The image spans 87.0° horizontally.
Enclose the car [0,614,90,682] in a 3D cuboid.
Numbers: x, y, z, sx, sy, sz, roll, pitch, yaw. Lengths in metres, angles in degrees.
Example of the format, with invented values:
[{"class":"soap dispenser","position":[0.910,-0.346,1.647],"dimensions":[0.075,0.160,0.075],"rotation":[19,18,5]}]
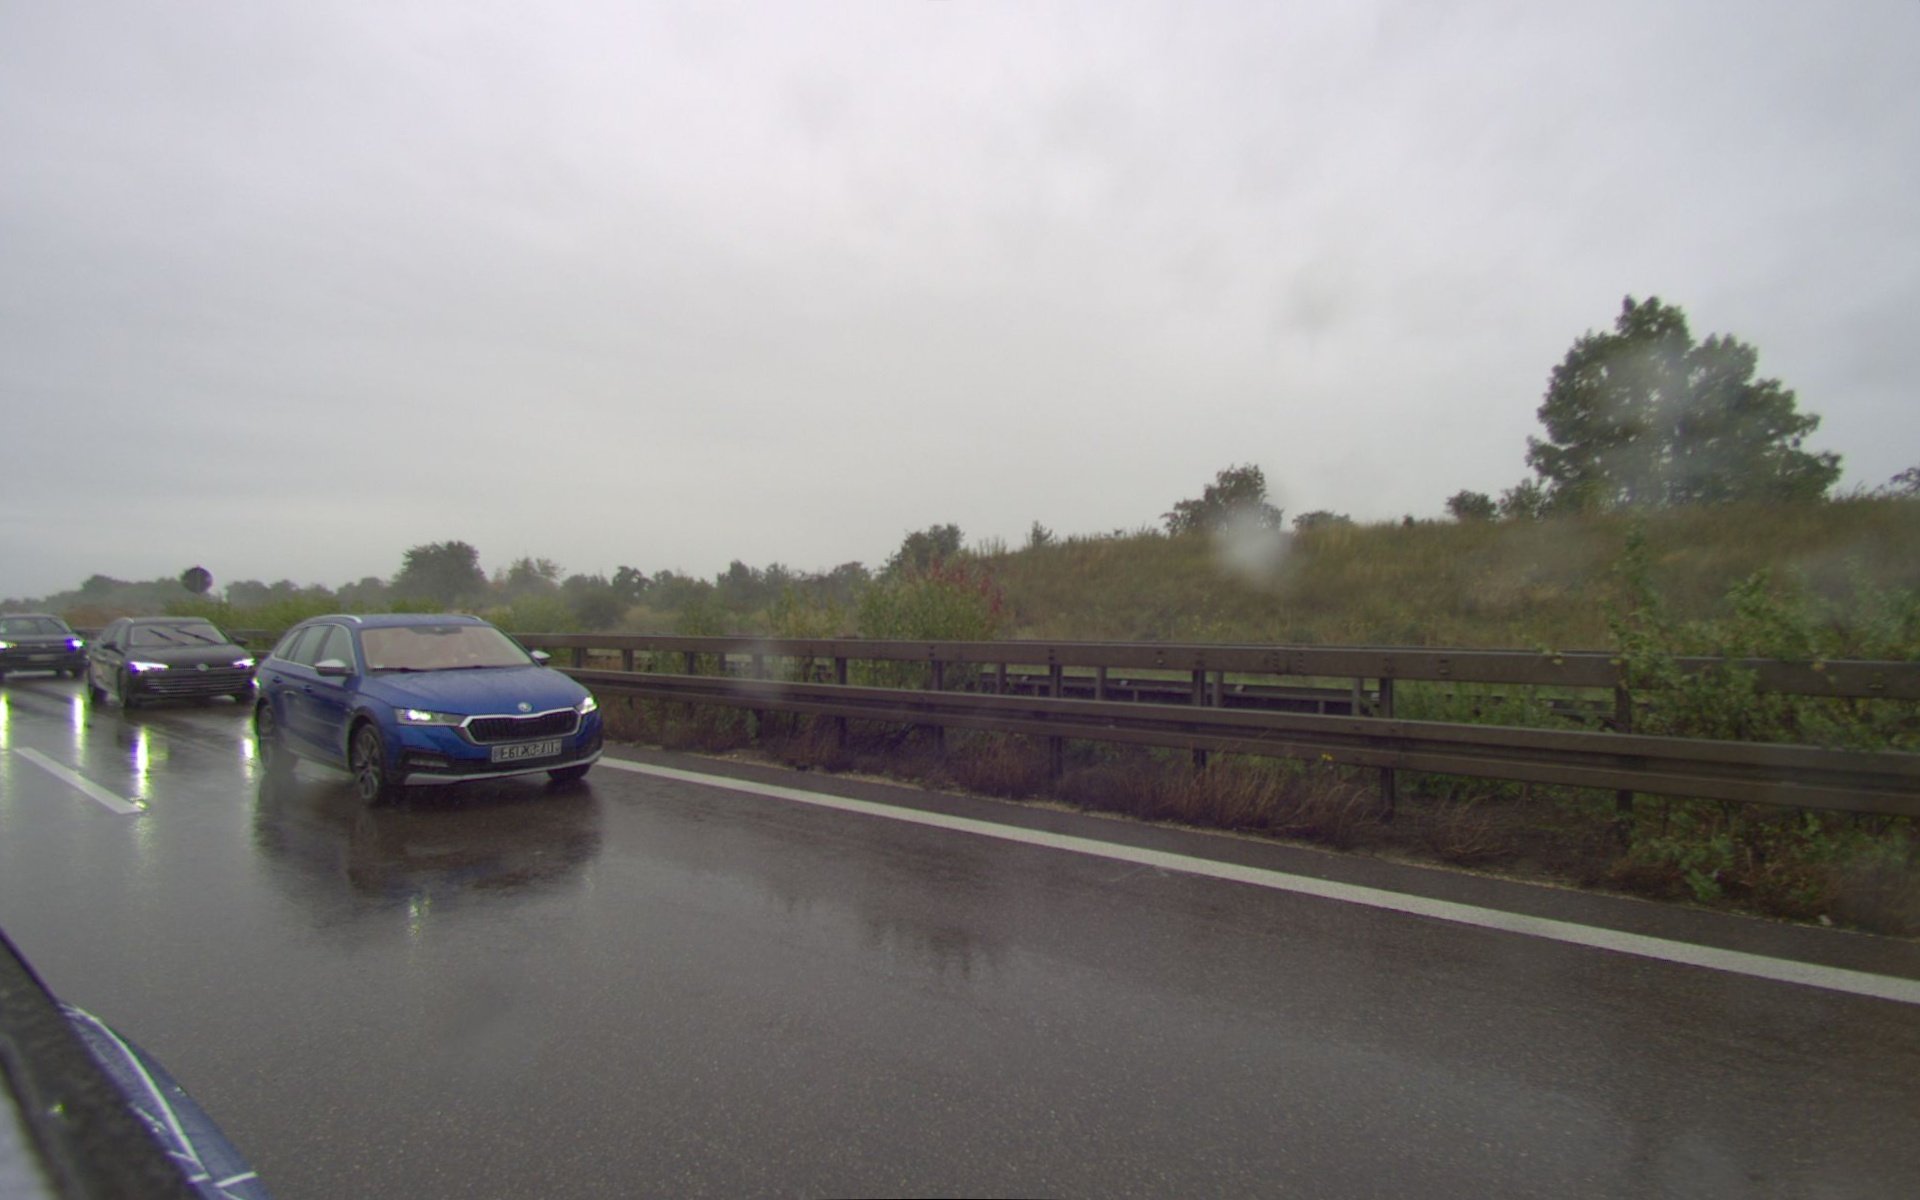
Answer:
[{"class":"car","position":[-24.277,1.204,26.325],"dimensions":[4.266,1.644,1.865],"rotation":[-1,-1,40]}]

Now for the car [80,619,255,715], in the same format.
[{"class":"car","position":[-13.878,1.086,17.628],"dimensions":[4.368,1.447,1.592],"rotation":[-1,-1,41]}]

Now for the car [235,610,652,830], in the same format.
[{"class":"car","position":[-4.795,0.868,9.072],"dimensions":[4.509,1.487,1.768],"rotation":[-1,-1,41]}]
